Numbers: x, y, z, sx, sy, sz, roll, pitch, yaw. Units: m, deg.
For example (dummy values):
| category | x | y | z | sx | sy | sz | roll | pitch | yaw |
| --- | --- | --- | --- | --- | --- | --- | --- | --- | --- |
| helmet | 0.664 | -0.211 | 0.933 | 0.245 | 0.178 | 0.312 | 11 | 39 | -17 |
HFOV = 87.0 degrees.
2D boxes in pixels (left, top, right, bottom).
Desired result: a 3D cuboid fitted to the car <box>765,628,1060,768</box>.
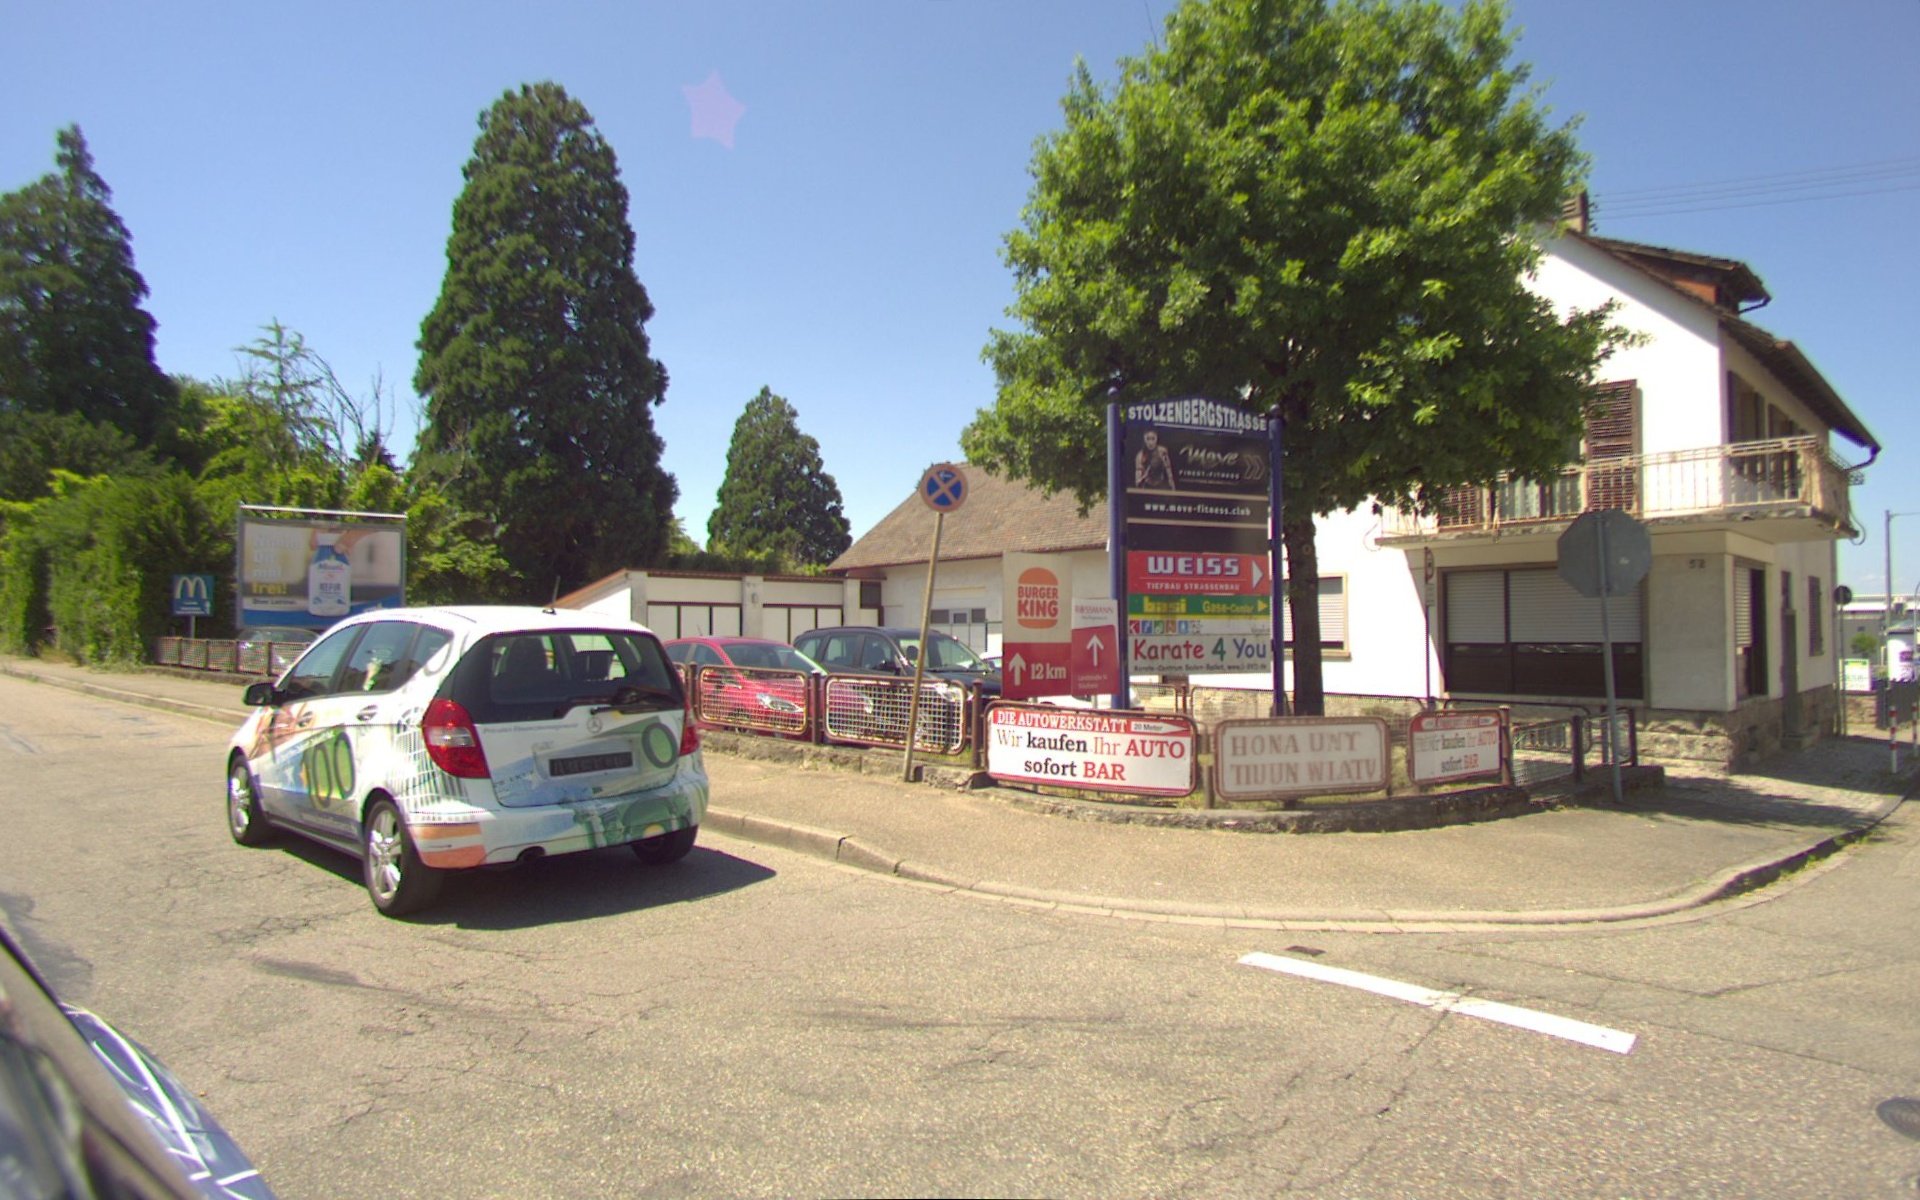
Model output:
| category | x | y | z | sx | sy | sz | roll | pitch | yaw |
| --- | --- | --- | --- | --- | --- | --- | --- | --- | --- |
| car | -0.848 | 1.287 | 14.610 | 1.772 | 1.691 | 4.631 | 3 | -4 | -41 |

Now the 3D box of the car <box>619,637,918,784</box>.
| category | x | y | z | sx | sy | sz | roll | pitch | yaw |
| --- | --- | --- | --- | --- | --- | --- | --- | --- | --- |
| car | -2.516 | 1.249 | 12.709 | 1.773 | 1.530 | 4.003 | 4 | -4 | -44 |

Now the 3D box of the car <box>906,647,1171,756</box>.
| category | x | y | z | sx | sy | sz | roll | pitch | yaw |
| --- | --- | --- | --- | --- | --- | --- | --- | --- | --- |
| car | 1.138 | 1.493 | 15.930 | 1.773 | 1.445 | 4.003 | 4 | -4 | -44 |

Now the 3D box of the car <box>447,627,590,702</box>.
| category | x | y | z | sx | sy | sz | roll | pitch | yaw |
| --- | --- | --- | --- | --- | --- | --- | --- | --- | --- |
| car | -11.719 | 1.651 | 26.773 | 3.996 | 1.755 | 1.776 | 0 | -2 | 39 |

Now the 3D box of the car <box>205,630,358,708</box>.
| category | x | y | z | sx | sy | sz | roll | pitch | yaw |
| --- | --- | --- | --- | --- | --- | --- | --- | --- | --- |
| car | -15.543 | 1.520 | 23.132 | 3.996 | 1.530 | 1.776 | 0 | -2 | 39 |

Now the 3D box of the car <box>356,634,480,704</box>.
| category | x | y | z | sx | sy | sz | roll | pitch | yaw |
| --- | --- | --- | --- | --- | --- | --- | --- | --- | --- |
| car | -13.590 | 1.666 | 25.293 | 1.772 | 1.530 | 4.005 | 3 | -3 | -42 |

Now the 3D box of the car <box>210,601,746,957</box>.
| category | x | y | z | sx | sy | sz | roll | pitch | yaw |
| --- | --- | --- | --- | --- | --- | --- | --- | --- | --- |
| car | -3.217 | 0.856 | 6.408 | 3.883 | 1.574 | 1.635 | -1 | -3 | 41 |
